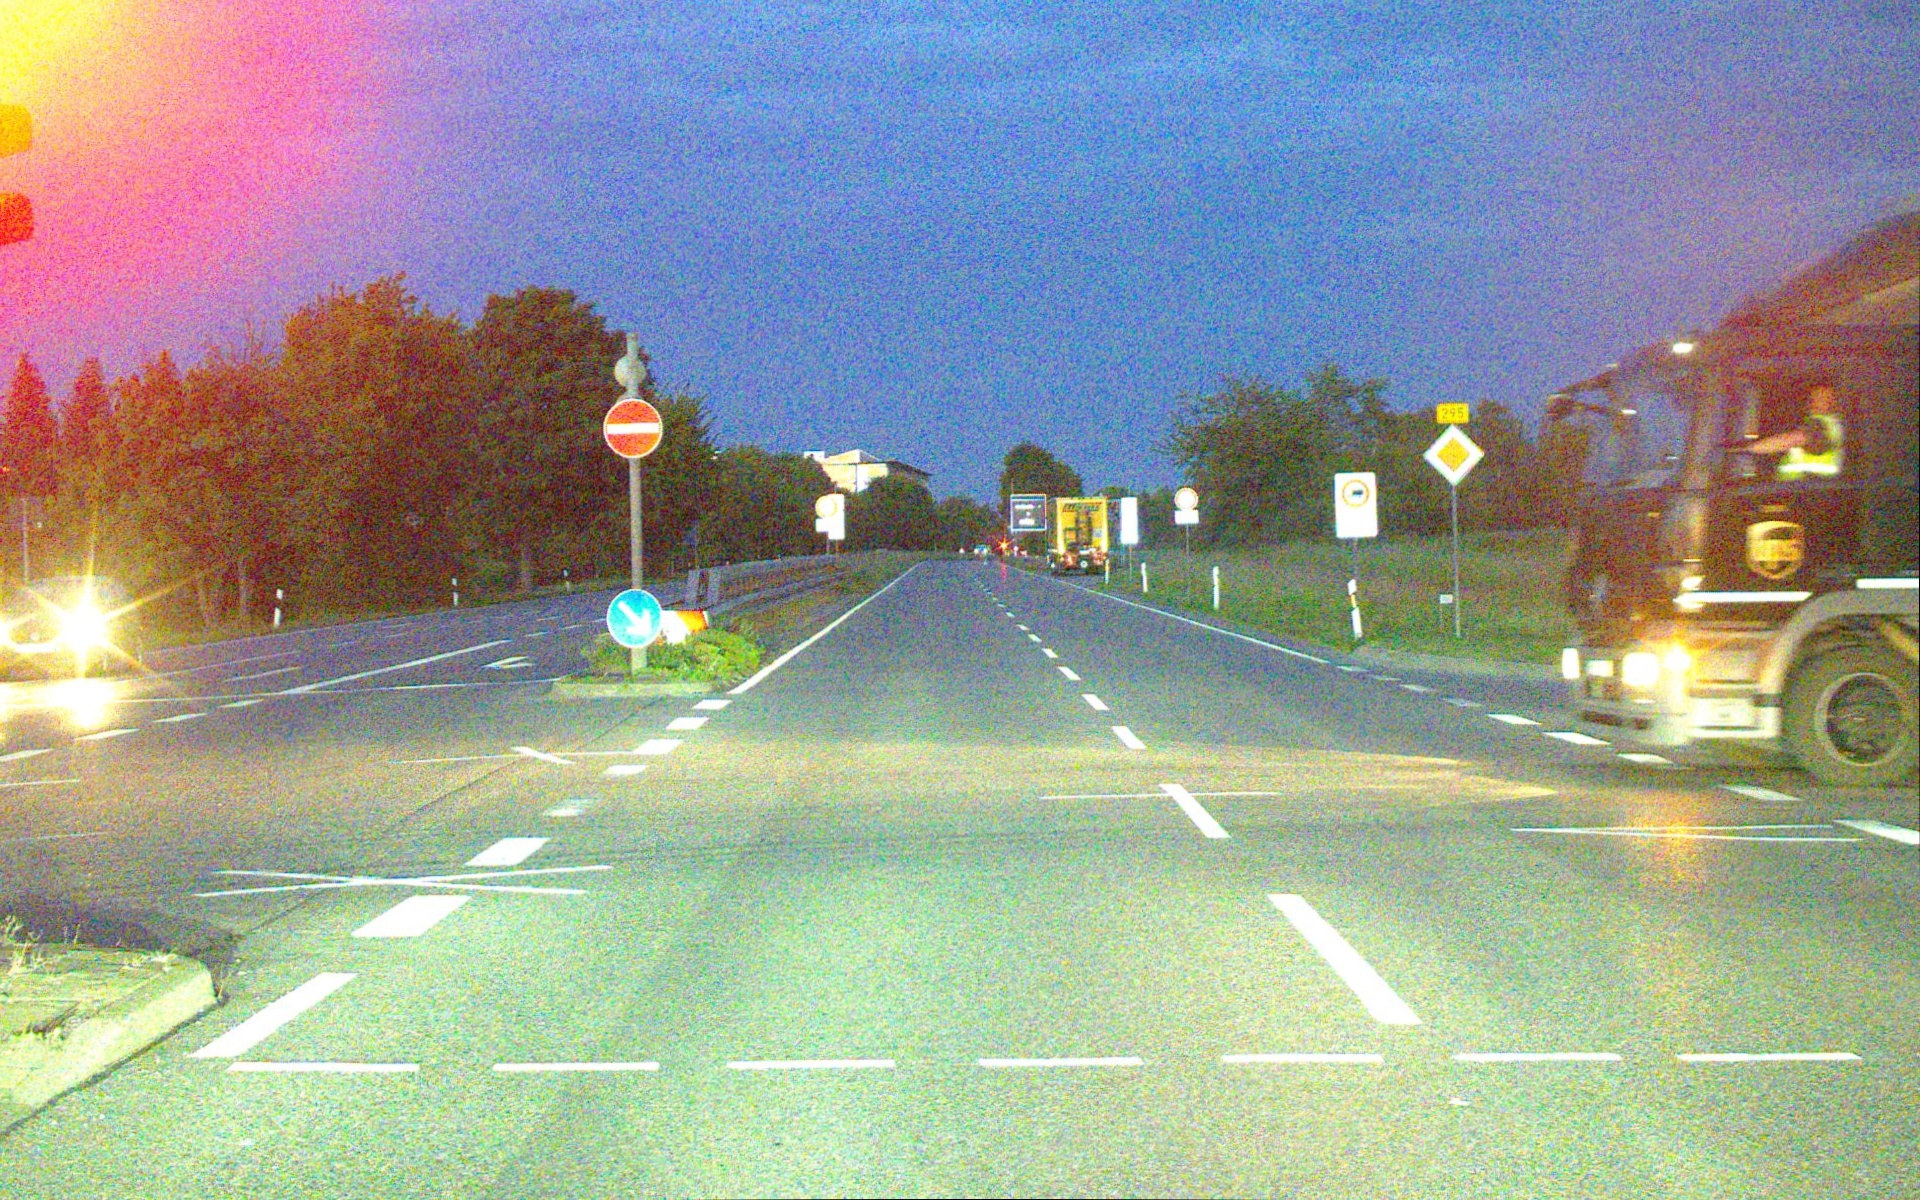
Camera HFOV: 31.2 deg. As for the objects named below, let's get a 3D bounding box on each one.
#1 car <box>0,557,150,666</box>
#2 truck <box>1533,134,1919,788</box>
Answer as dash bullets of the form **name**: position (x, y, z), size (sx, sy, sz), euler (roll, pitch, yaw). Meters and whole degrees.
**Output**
- **car**: position (-13.181, 0.153, 50.498), size (1.628, 1.372, 3.589), euler (-5, 2, 0)
- **truck**: position (9.276, -0.922, 23.175), size (10.311, 4.103, 2.735), euler (0, 0, -3)
